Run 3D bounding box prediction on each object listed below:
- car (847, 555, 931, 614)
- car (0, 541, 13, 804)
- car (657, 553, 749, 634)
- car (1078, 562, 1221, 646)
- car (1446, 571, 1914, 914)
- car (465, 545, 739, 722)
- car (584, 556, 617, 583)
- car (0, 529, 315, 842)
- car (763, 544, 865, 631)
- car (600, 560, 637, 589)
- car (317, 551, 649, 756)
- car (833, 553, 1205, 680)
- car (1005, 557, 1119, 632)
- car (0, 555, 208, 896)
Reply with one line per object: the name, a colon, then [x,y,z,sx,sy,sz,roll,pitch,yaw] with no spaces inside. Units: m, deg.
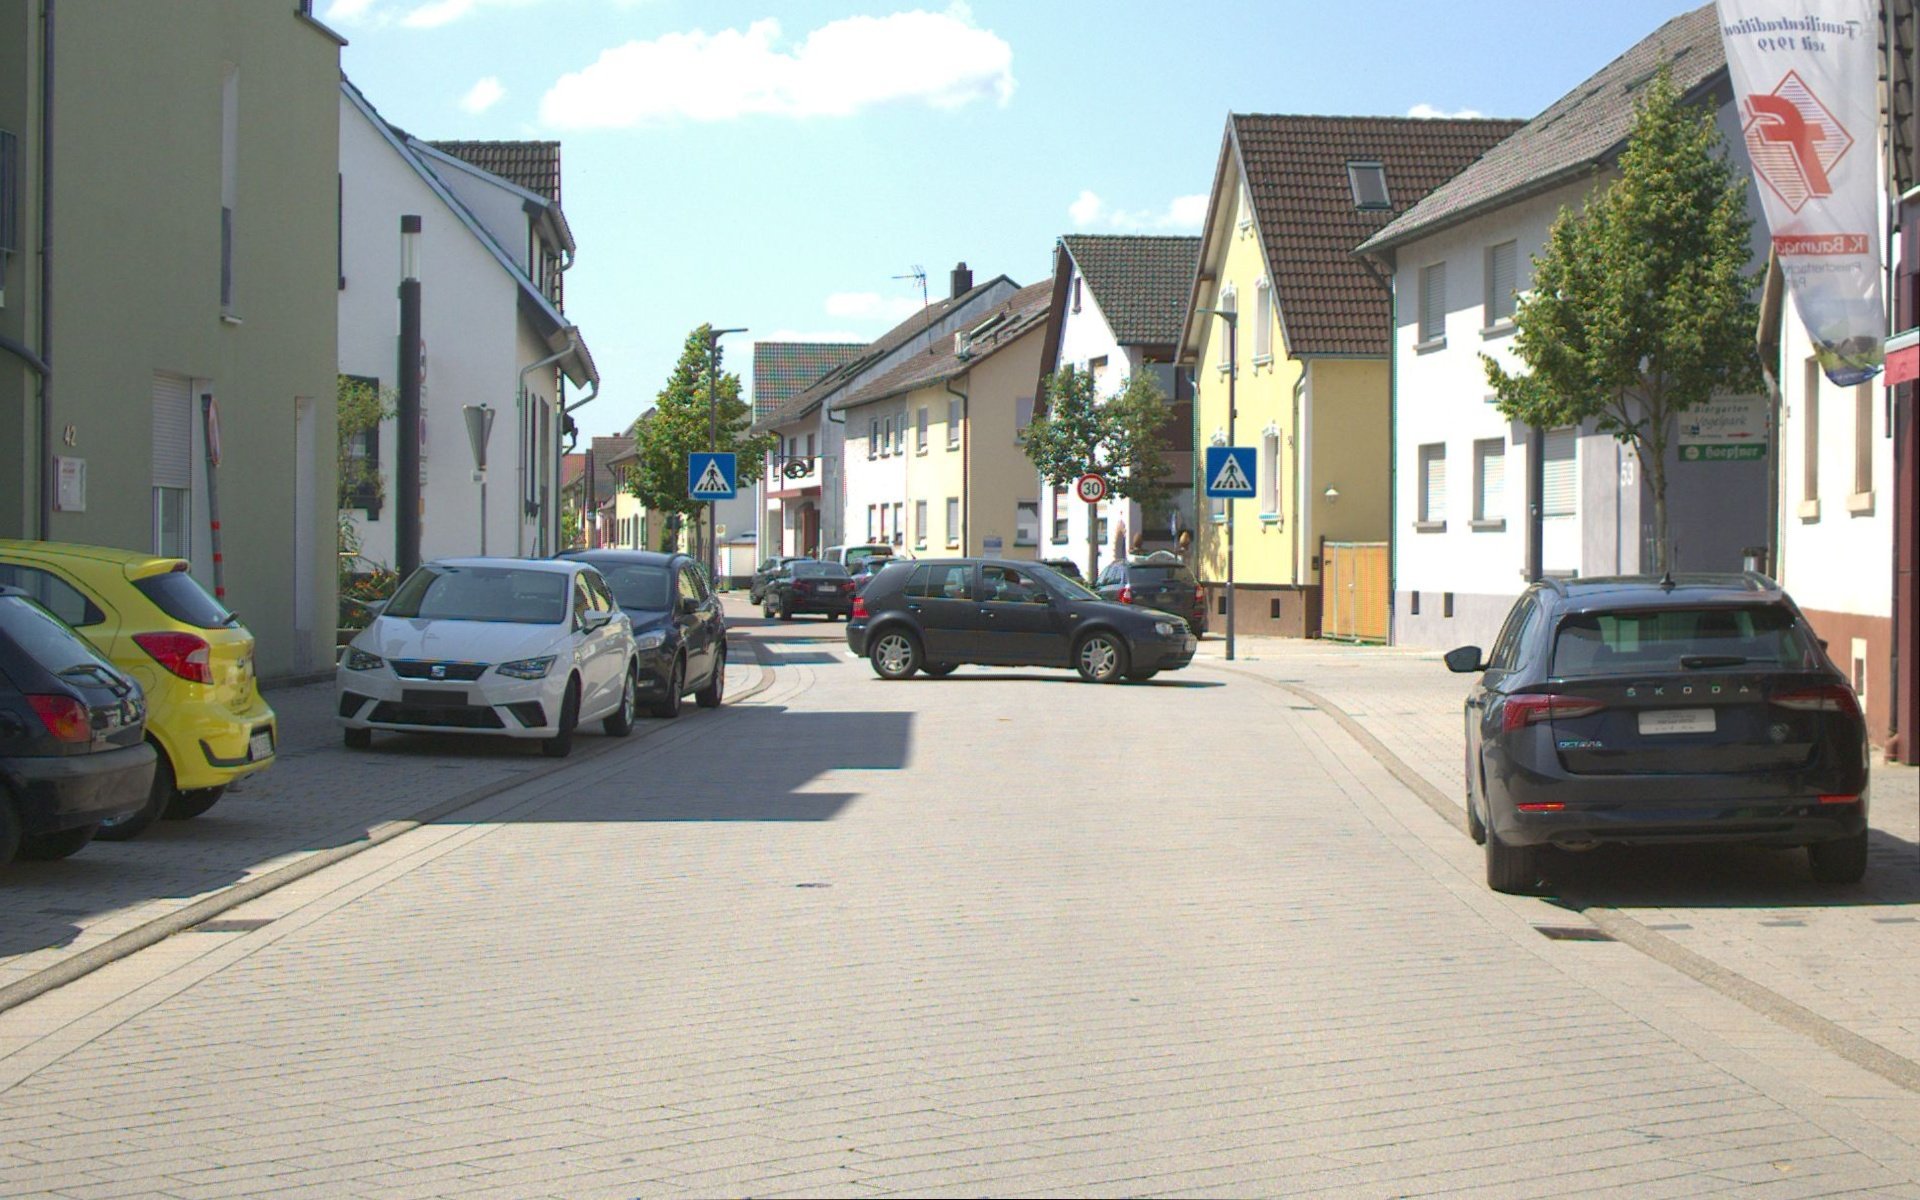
car: [-1.993,-0.446,95.320,1.877,1.586,4.001,0,1,-8]
car: [-5.985,0.409,13.572,3.902,1.497,1.750,3,1,5]
car: [-5.219,-0.154,69.505,1.747,1.525,4.001,2,1,-5]
car: [3.508,0.064,64.288,1.828,1.466,4.277,-2,1,-8]
car: [3.470,0.610,17.335,1.858,1.454,4.585,-1,0,7]
car: [-3.292,0.259,32.390,1.813,1.485,4.277,2,1,4]
car: [-19.717,-1.686,188.533,1.687,1.447,3.794,0,1,-8]
car: [-5.551,0.371,18.564,3.693,1.520,1.672,3,1,5]
car: [-3.561,-0.333,83.322,1.993,2.051,4.375,0,1,-9]
car: [-17.392,-1.328,175.070,1.687,1.447,3.794,0,1,-8]
car: [-3.637,0.357,26.862,1.758,1.406,3.877,3,1,4]
car: [0.715,0.187,40.605,4.108,1.433,1.764,0,1,13]
car: [2.167,-0.140,74.034,1.846,1.557,3.694,0,1,-8]
car: [-5.737,0.448,15.999,3.987,1.437,1.691,3,1,4]
